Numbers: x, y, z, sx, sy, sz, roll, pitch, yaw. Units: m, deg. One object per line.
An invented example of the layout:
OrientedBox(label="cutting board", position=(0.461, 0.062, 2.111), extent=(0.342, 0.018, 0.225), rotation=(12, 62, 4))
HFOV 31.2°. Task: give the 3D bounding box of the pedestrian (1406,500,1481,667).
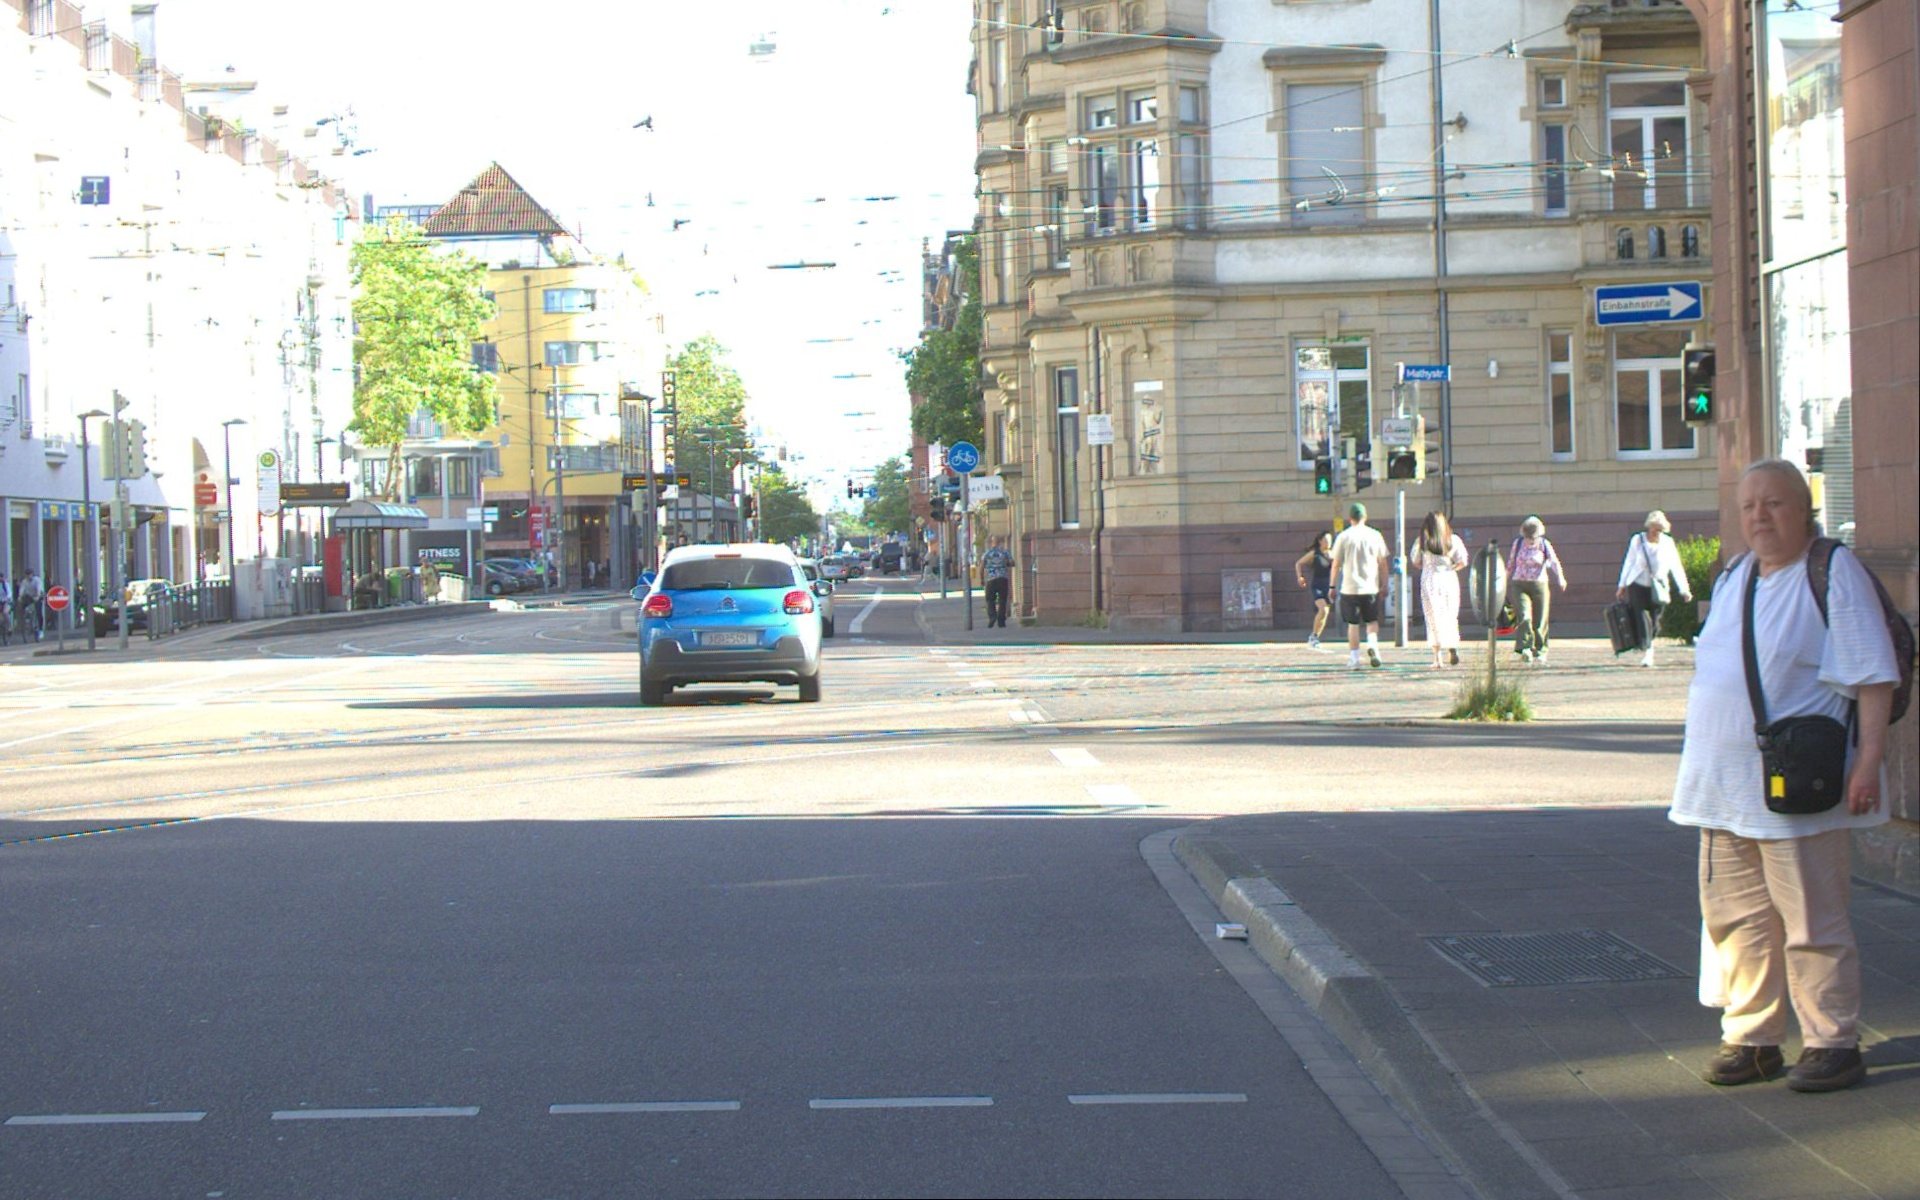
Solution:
OrientedBox(label="pedestrian", position=(5.105, -0.170, 36.288), extent=(0.644, 1.739, 0.704), rotation=(0, 0, 21))

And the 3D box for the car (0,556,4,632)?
OrientedBox(label="car", position=(-21.119, -0.105, 70.643), extent=(1.993, 1.590, 4.000), rotation=(-2, 0, -3))

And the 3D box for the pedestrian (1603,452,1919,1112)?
OrientedBox(label="pedestrian", position=(2.137, 0.436, 8.814), extent=(0.681, 1.602, 0.731), rotation=(-2, 1, -14))

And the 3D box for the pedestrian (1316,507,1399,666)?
OrientedBox(label="pedestrian", position=(4.215, -0.142, 36.420), extent=(0.701, 1.649, 0.631), rotation=(-2, 0, 21))

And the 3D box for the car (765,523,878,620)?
OrientedBox(label="car", position=(-2.546, -0.511, 64.215), extent=(1.993, 1.737, 4.000), rotation=(0, 0, -1))

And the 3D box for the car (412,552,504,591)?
OrientedBox(label="car", position=(-22.866, -1.310, 156.695), extent=(3.986, 1.669, 1.958), rotation=(-1, 1, -4))

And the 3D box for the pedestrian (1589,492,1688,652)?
OrientedBox(label="pedestrian", position=(7.079, -0.289, 35.829), extent=(0.923, 1.626, 1.008), rotation=(-2, 0, 14))

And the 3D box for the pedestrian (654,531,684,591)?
OrientedBox(label="pedestrian", position=(-7.660, -1.034, 90.588), extent=(0.586, 1.556, 0.469), rotation=(-1, 1, 35))

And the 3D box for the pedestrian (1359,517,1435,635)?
OrientedBox(label="pedestrian", position=(5.807, -0.321, 45.638), extent=(0.634, 1.532, 0.940), rotation=(-2, 0, 31))

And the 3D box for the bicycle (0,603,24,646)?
OrientedBox(label="bicycle", position=(-22.109, 0.572, 79.231), extent=(0.594, 0.969, 2.012), rotation=(-2, 0, -3))

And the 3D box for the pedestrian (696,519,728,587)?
OrientedBox(label="pedestrian", position=(-6.211, -1.179, 86.044), extent=(0.636, 1.692, 0.933), rotation=(0, 0, 6))

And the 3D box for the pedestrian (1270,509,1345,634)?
OrientedBox(label="pedestrian", position=(4.629, -0.376, 45.723), extent=(0.922, 1.626, 0.941), rotation=(-2, 0, 7))

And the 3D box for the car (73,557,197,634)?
OrientedBox(label="car", position=(-21.367, -0.140, 89.232), extent=(2.227, 1.904, 4.609), rotation=(-1, 1, -2))

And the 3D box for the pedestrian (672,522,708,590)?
OrientedBox(label="pedestrian", position=(-7.151, -1.173, 91.084), extent=(0.718, 1.771, 0.564), rotation=(-1, 1, 35))

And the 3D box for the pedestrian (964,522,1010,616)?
OrientedBox(label="pedestrian", position=(0.512, -0.607, 65.567), extent=(0.779, 1.743, 1.093), rotation=(-1, 2, -4))

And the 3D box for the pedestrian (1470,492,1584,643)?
OrientedBox(label="pedestrian", position=(6.280, -0.354, 38.038), extent=(0.924, 1.626, 0.940), rotation=(-2, 0, 31))

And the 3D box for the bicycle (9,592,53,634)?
OrientedBox(label="bicycle", position=(-22.307, 0.314, 82.590), extent=(0.594, 0.969, 2.048), rotation=(-2, 0, -3))

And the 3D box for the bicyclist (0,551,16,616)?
OrientedBox(label="bicyclist", position=(-22.128, -0.370, 79.059), extent=(0.588, 1.483, 0.928), rotation=(-2, 0, -3))

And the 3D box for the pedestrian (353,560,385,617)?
OrientedBox(label="pedestrian", position=(-16.089, -0.323, 93.560), extent=(0.731, 1.522, 0.743), rotation=(-1, 1, -2))

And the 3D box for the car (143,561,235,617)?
OrientedBox(label="car", position=(-21.814, -0.338, 97.399), extent=(1.728, 1.509, 4.405), rotation=(-1, 1, -2))

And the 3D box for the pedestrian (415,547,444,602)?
OrientedBox(label="pedestrian", position=(-15.274, -0.728, 99.031), extent=(0.731, 1.553, 0.743), rotation=(-1, 1, -2))

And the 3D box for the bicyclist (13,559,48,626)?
OrientedBox(label="bicyclist", position=(-22.279, -0.173, 82.401), extent=(0.588, 1.580, 0.896), rotation=(-2, 0, -3))

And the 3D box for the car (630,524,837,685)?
OrientedBox(label="car", position=(-2.114, 0.011, 32.869), extent=(1.781, 1.446, 3.654), rotation=(0, 1, -1))
